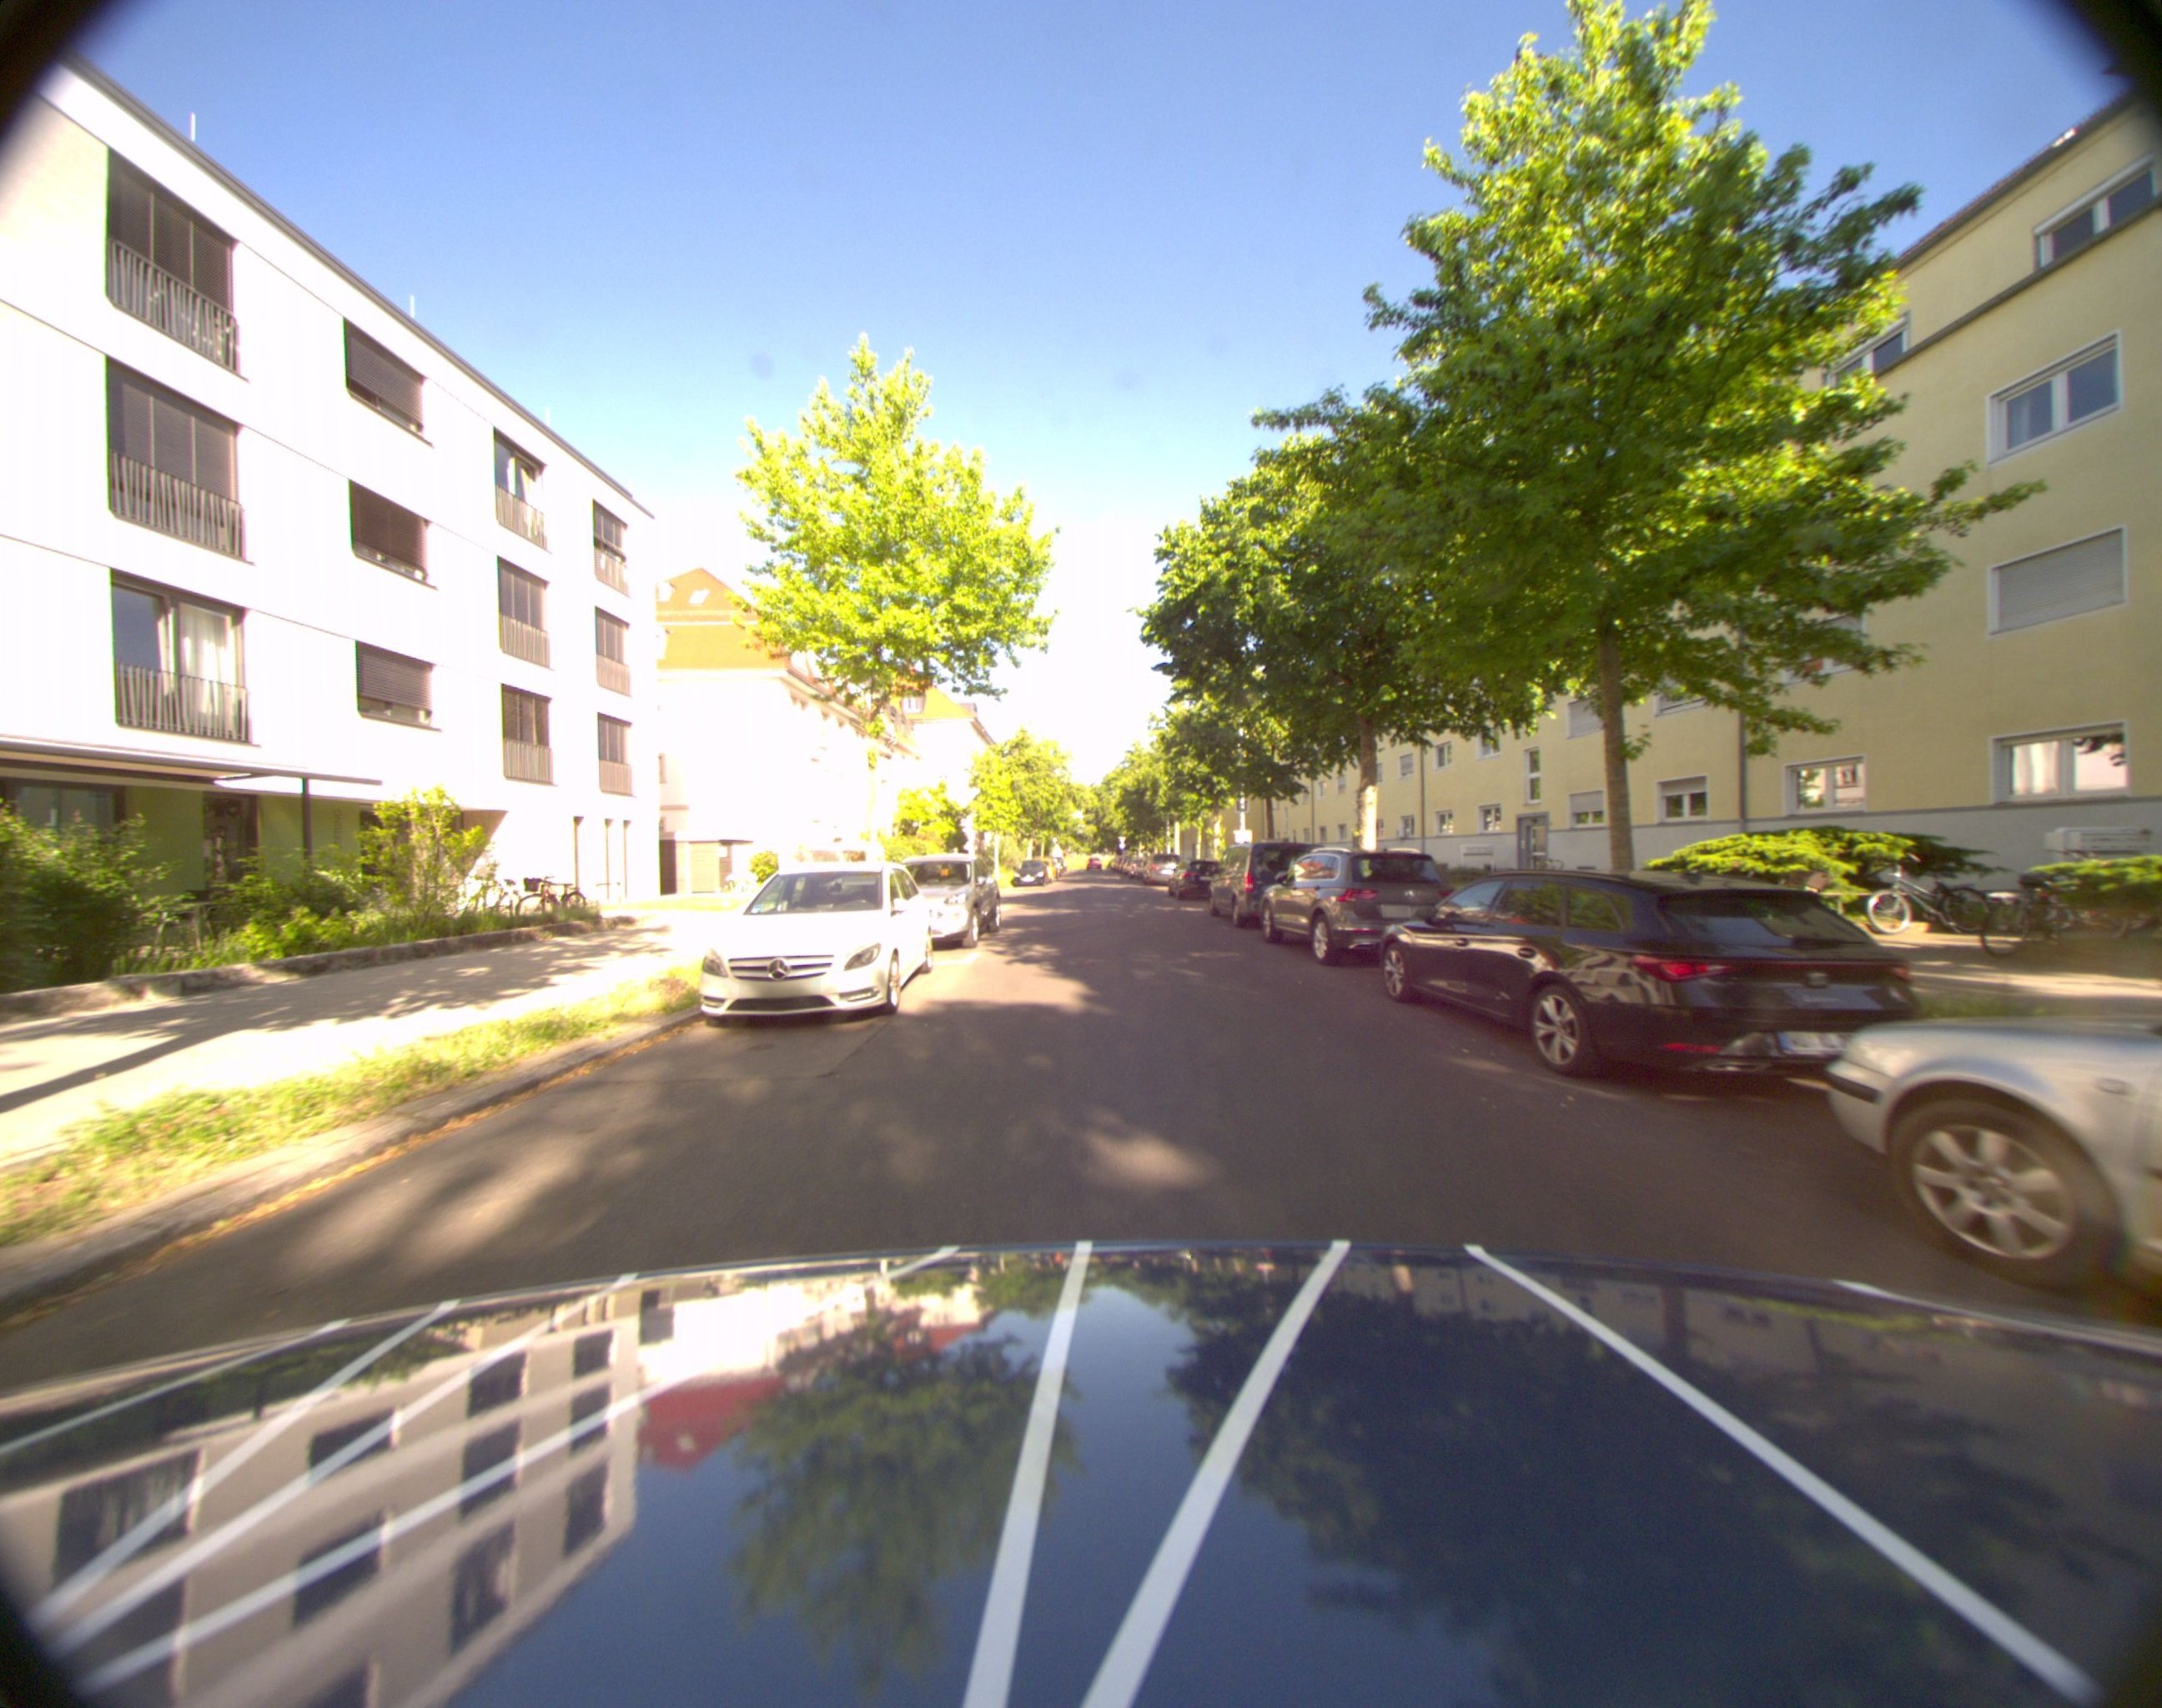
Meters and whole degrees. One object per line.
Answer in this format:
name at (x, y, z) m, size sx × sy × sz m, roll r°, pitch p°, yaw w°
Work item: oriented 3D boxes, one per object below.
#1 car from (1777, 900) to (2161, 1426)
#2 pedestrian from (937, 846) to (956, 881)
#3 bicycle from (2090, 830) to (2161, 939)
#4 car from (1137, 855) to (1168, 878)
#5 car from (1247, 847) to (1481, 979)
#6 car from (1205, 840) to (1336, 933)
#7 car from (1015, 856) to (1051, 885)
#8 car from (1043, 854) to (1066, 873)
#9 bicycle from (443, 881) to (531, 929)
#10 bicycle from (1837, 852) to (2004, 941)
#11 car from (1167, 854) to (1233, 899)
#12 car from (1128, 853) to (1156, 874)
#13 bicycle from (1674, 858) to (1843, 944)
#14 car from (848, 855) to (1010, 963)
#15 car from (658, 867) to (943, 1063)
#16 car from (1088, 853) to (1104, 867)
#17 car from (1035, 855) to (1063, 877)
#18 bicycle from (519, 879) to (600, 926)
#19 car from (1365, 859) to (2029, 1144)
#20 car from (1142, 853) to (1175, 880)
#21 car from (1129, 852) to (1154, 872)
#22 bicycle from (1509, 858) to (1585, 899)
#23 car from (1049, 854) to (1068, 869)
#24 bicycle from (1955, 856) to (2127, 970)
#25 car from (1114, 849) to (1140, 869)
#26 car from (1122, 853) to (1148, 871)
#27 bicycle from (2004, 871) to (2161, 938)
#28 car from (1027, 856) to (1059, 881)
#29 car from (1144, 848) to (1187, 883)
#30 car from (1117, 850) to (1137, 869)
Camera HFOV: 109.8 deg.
car at (4.073, 0.961, 1.238) m, size 1.711 × 1.472 × 4.489 m, roll 0°, pitch 0°, yaw -1°
pedestrian at (-7.591, 0.526, 42.975) m, size 0.907 × 2.002 × 1.006 m, roll 0°, pitch 1°, yaw 1°
bicycle at (12.940, 0.319, 8.825) m, size 1.638 × 1.218 × 0.590 m, roll -2°, pitch 1°, yaw 1°
car at (4.557, 0.755, 48.952) m, size 1.606 × 1.382 × 3.812 m, roll -1°, pitch 0°, yaw 0°
car at (4.113, 0.738, 11.961) m, size 1.798 × 1.676 × 4.525 m, roll 0°, pitch 0°, yaw -3°
car at (4.137, 0.630, 17.425) m, size 1.798 × 1.839 × 4.866 m, roll 0°, pitch 0°, yaw 0°
car at (-2.584, 0.872, 41.609) m, size 1.670 × 1.456 × 3.536 m, roll 0°, pitch 0°, yaw 2°
car at (-2.148, 0.726, 61.719) m, size 1.670 × 1.456 × 3.536 m, roll 0°, pitch 0°, yaw 2°
bicycle at (-12.587, 1.058, 16.160) m, size 0.564 × 0.889 × 1.609 m, roll -1°, pitch 0°, yaw 1°
bicycle at (12.203, 0.605, 11.068) m, size 1.826 × 1.218 × 0.517 m, roll -2°, pitch 1°, yaw 1°
car at (4.300, 0.778, 27.972) m, size 1.780 × 1.462 × 4.063 m, roll 1°, pitch 0°, yaw 1°
car at (4.248, 0.618, 53.436) m, size 1.606 × 1.382 × 3.812 m, roll -1°, pitch 0°, yaw 0°
bicycle at (10.465, 0.670, 11.880) m, size 0.596 × 1.183 × 2.260 m, roll 0°, pitch 0°, yaw -1°
car at (-2.658, 0.892, 14.571) m, size 1.901 × 1.638 × 4.862 m, roll -2°, pitch 0°, yaw 2°
car at (-2.806, 0.980, 8.814) m, size 1.786 × 1.509 × 4.685 m, roll -2°, pitch 0°, yaw -4°
car at (1.598, 0.590, 81.660) m, size 1.665 × 1.456 × 3.447 m, roll 0°, pitch 0°, yaw 2°
car at (-2.138, 0.778, 51.863) m, size 1.670 × 1.456 × 3.674 m, roll 0°, pitch 0°, yaw 2°
bicycle at (-11.063, 1.012, 16.172) m, size 0.564 × 0.889 × 1.609 m, roll -1°, pitch 0°, yaw 1°
car at (4.097, 0.796, 6.259) m, size 1.798 × 1.443 × 4.489 m, roll 0°, pitch 0°, yaw 0°
car at (4.589, 0.700, 45.197) m, size 1.606 × 1.535 × 3.416 m, roll -1°, pitch 0°, yaw 0°
car at (4.665, 0.630, 59.134) m, size 1.606 × 1.464 × 3.812 m, roll -1°, pitch 0°, yaw 0°
bicycle at (10.962, 0.551, 17.963) m, size 0.596 × 0.911 × 1.903 m, roll 0°, pitch 0°, yaw -1°
car at (-2.181, 0.712, 75.018) m, size 1.670 × 1.456 × 3.536 m, roll 0°, pitch 0°, yaw 2°
bicycle at (11.199, 0.659, 8.871) m, size 1.640 × 1.218 × 0.517 m, roll -2°, pitch 1°, yaw -9°
car at (4.250, 0.442, 70.332) m, size 1.891 × 1.797 × 3.913 m, roll -1°, pitch 0°, yaw -3°
car at (4.588, 0.654, 64.897) m, size 1.805 × 1.470 × 3.999 m, roll -1°, pitch 0°, yaw -3°
bicycle at (14.478, 0.714, 10.902) m, size 1.713 × 0.864 × 0.585 m, roll -2°, pitch 1°, yaw 1°
car at (-2.300, 0.850, 46.388) m, size 1.670 × 1.456 × 3.536 m, roll 0°, pitch 0°, yaw 2°
car at (4.348, 0.562, 39.749) m, size 1.864 × 1.718 × 4.000 m, roll 1°, pitch 0°, yaw 1°
car at (4.505, 0.490, 75.242) m, size 1.713 × 1.752 × 3.712 m, roll -1°, pitch 1°, yaw 0°
